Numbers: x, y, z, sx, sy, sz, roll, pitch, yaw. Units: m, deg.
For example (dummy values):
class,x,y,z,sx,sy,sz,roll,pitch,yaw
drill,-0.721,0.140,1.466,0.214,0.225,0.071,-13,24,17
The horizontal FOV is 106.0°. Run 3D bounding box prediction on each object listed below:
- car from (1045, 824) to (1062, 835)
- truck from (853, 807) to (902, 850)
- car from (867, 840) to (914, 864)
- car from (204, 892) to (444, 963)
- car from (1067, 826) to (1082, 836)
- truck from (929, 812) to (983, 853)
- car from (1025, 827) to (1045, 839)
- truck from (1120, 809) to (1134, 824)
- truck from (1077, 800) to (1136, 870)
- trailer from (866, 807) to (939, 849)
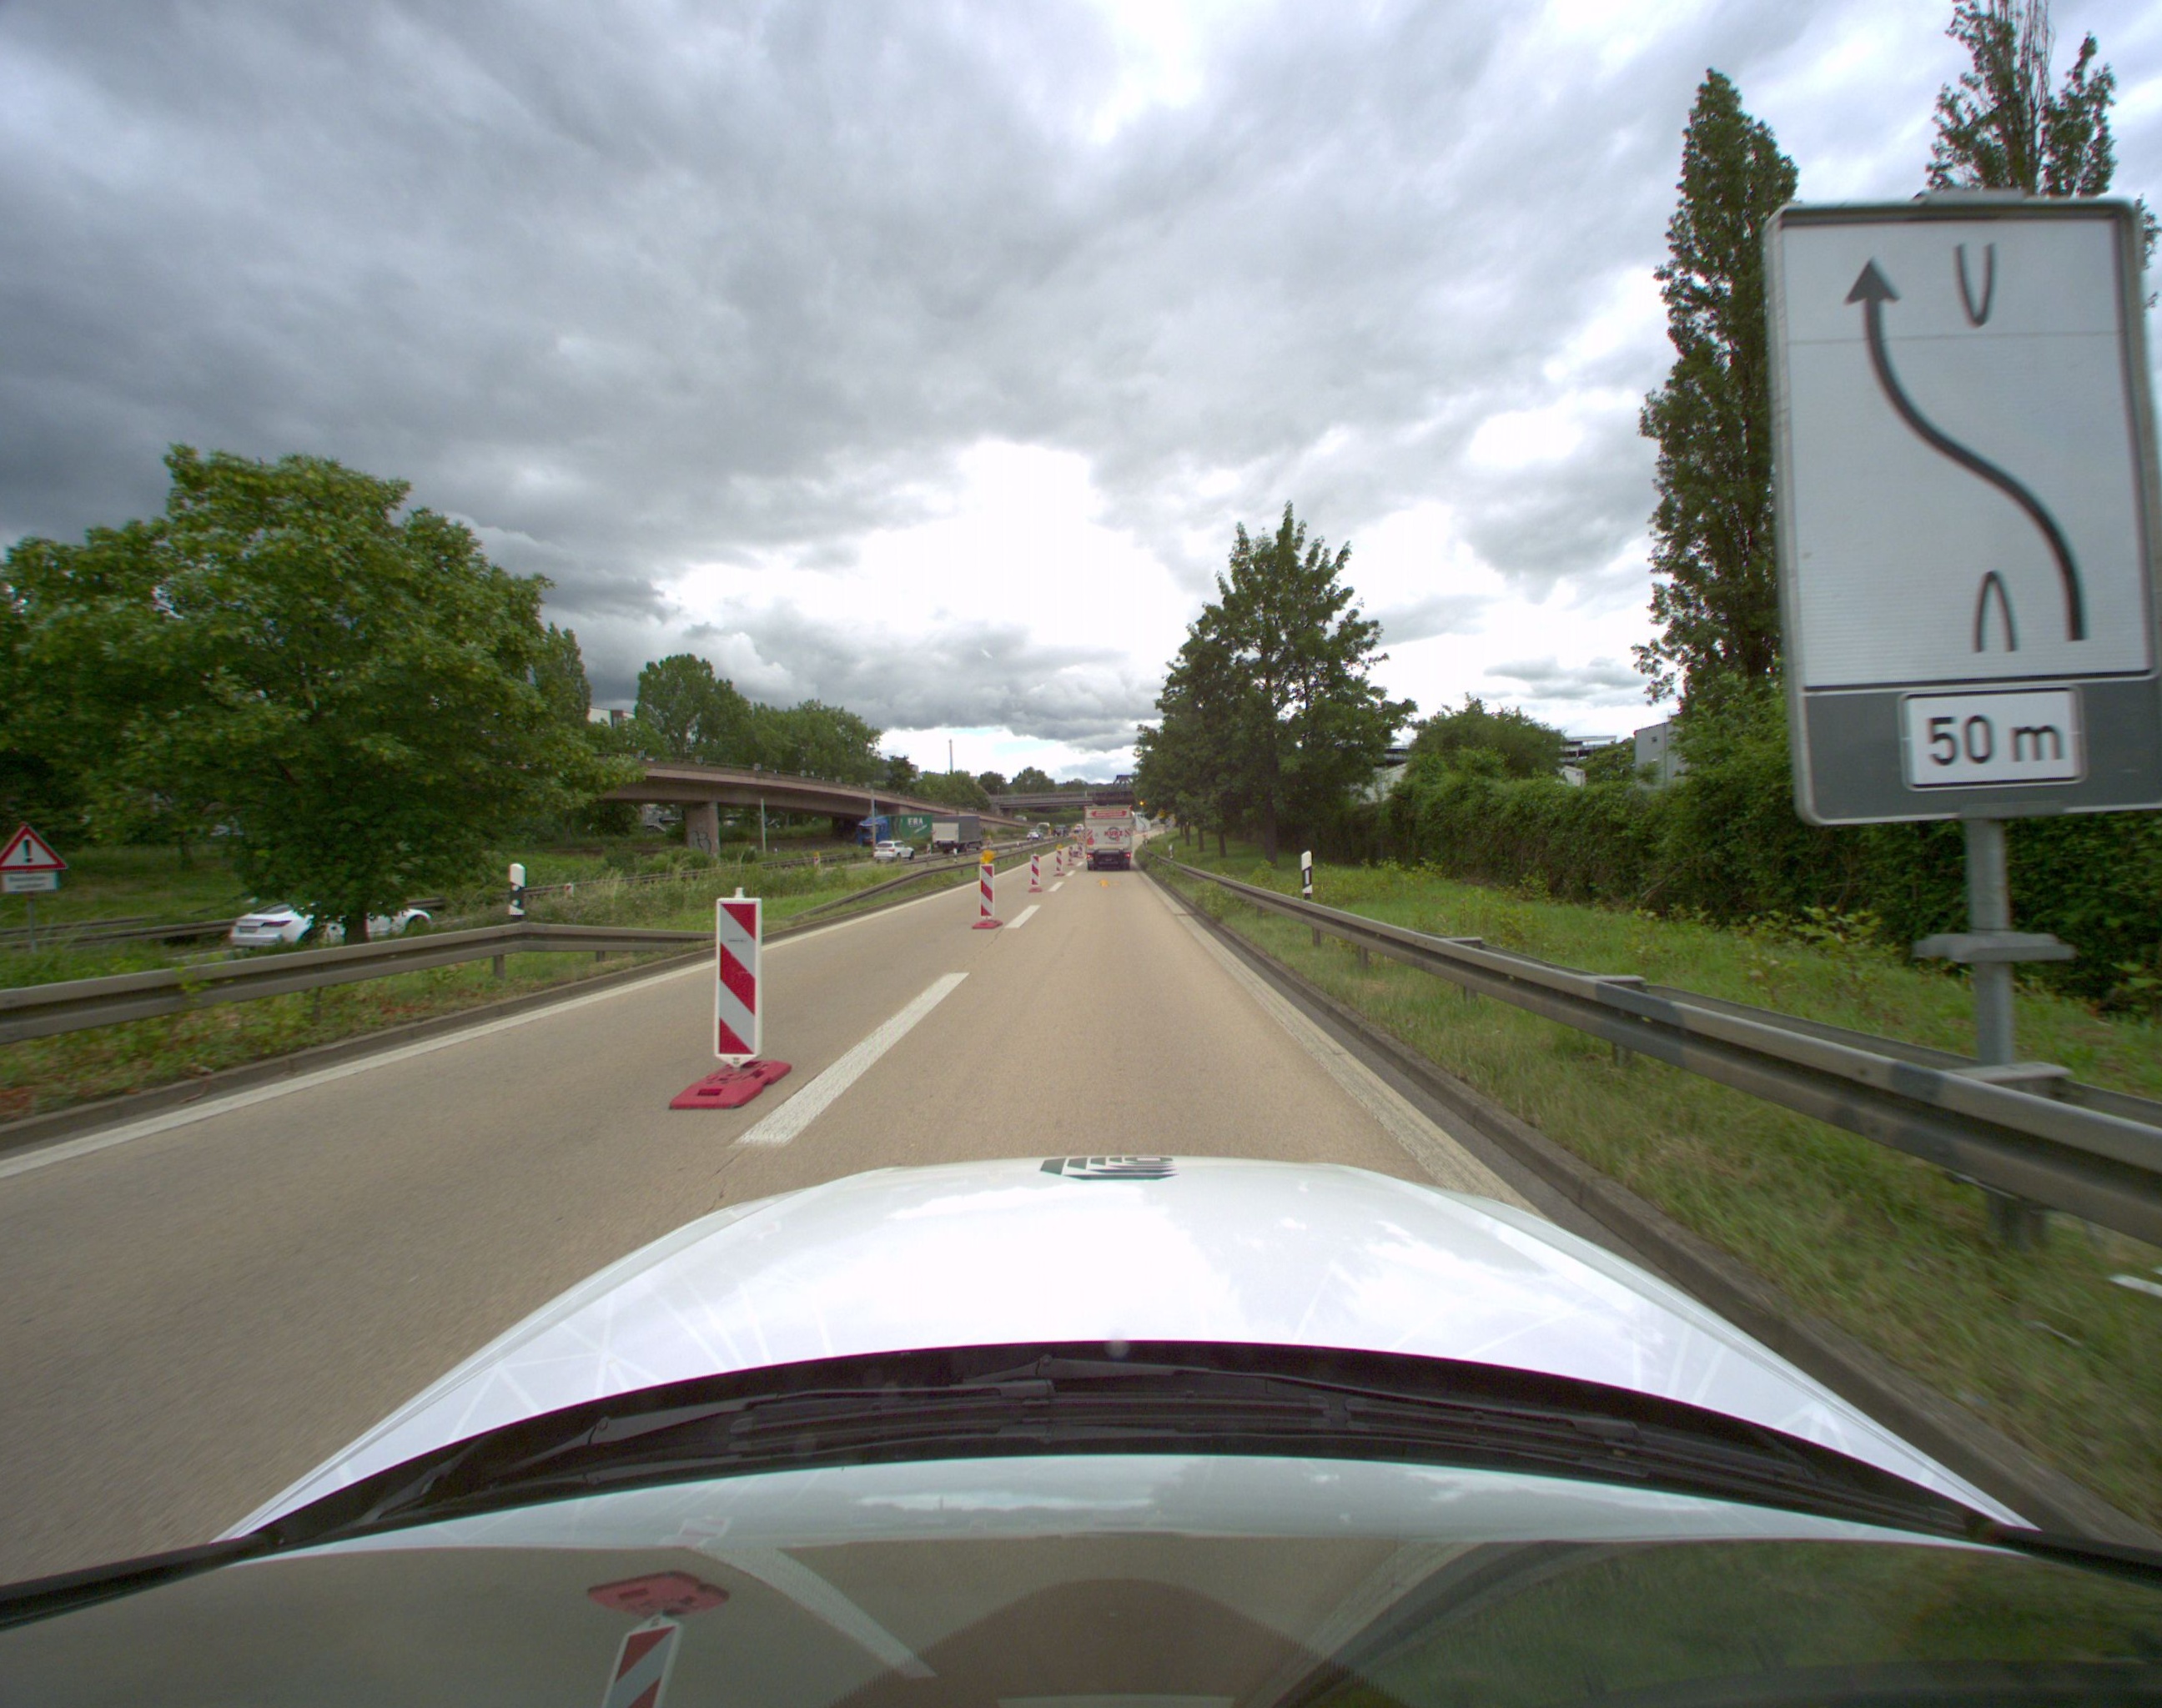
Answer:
class,x,y,z,sx,sy,sz,roll,pitch,yaw
car,-4.231,-3.838,127.321,1.983,1.617,4.009,-1,2,7
truck,-21.185,-2.716,85.043,2.735,4.271,5.520,-1,2,11
car,-14.714,-0.163,63.187,1.981,1.712,4.114,-1,2,11
car,-21.749,2.054,23.744,1.981,1.455,4.817,-1,2,11
car,-1.133,-4.084,143.382,1.983,1.617,4.009,-1,2,7
truck,-11.799,-2.060,77.910,3.034,3.655,7.412,-1,2,7
car,-6.272,-2.873,111.540,1.983,1.617,4.009,-1,2,7
truck,11.991,-9.715,212.181,3.269,3.852,7.681,-1,2,7
truck,1.528,-1.054,47.318,3.039,3.672,7.932,-1,1,2
trailer,-19.915,-2.994,92.202,2.754,4.293,14.022,-1,2,10
